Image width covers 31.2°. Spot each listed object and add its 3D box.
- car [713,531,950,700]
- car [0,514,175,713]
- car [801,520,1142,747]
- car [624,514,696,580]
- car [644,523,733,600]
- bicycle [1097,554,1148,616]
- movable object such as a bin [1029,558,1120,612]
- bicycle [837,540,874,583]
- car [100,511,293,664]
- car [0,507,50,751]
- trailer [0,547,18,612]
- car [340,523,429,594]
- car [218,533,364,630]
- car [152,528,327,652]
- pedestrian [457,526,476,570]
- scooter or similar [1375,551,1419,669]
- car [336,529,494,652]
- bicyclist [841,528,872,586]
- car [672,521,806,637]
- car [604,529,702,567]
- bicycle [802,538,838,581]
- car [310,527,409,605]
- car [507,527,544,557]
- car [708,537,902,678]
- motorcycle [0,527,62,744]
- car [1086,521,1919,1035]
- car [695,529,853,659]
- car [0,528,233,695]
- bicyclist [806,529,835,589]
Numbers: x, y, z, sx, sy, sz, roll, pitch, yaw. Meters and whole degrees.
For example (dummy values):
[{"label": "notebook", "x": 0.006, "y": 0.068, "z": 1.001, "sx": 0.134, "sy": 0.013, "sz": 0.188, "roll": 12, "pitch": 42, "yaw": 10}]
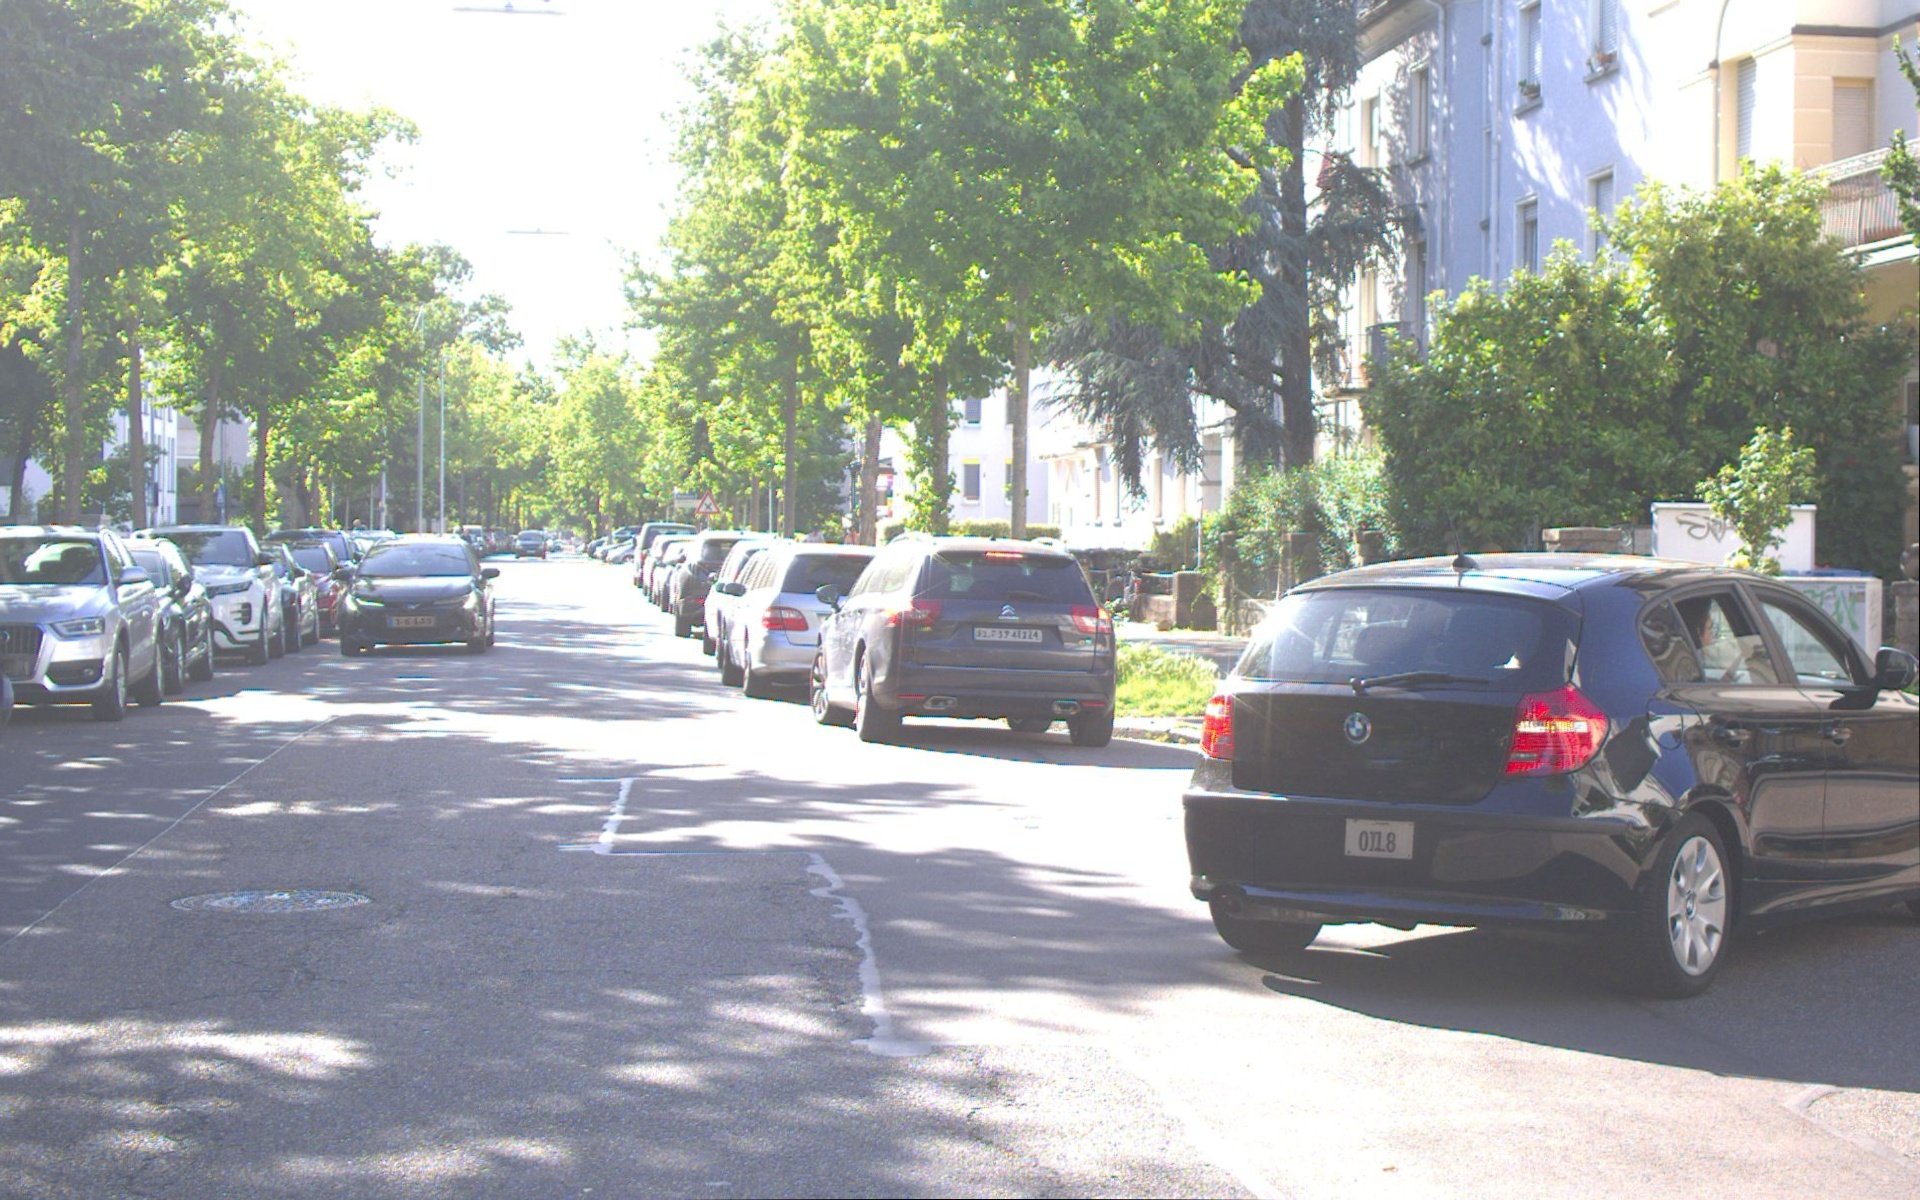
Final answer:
[{"label": "car", "x": -1.343, "y": 0.093, "z": 33.759, "sx": 1.821, "sy": 1.464, "sz": 4.911, "roll": 2, "pitch": 1, "yaw": -8}, {"label": "car", "x": -7.731, "y": 0.046, "z": 28.521, "sx": 2.063, "sy": 1.519, "sz": 4.723, "roll": 0, "pitch": 1, "yaw": -9}, {"label": "car", "x": -0.029, "y": 0.216, "z": 26.069, "sx": 1.895, "sy": 1.519, "sz": 4.968, "roll": 1, "pitch": 0, "yaw": -8}, {"label": "car", "x": -9.064, "y": -1.604, "z": 103.691, "sx": 1.970, "sy": 1.942, "sz": 4.986, "roll": 1, "pitch": 1, "yaw": -7}, {"label": "car", "x": -6.622, "y": -0.955, "z": 83.502, "sx": 1.906, "sy": 1.693, "sz": 4.314, "roll": 3, "pitch": 1, "yaw": -6}, {"label": "bicycle", "x": 2.636, "y": -0.255, "z": 55.909, "sx": 0.581, "sy": 0.971, "sz": 1.904, "roll": 0, "pitch": 1, "yaw": -5}, {"label": "movable object such as a bin", "x": 1.985, "y": -0.269, "z": 59.370, "sx": 1.222, "sy": 0.901, "sz": 1.663, "roll": 1, "pitch": 1, "yaw": 14}, {"label": "bicycle", "x": -2.827, "y": -1.050, "z": 92.589, "sx": 0.683, "sy": 1.149, "sz": 2.404, "roll": 0, "pitch": 1, "yaw": -9}, {"label": "car", "x": -8.868, "y": -0.184, "z": 40.217, "sx": 1.728, "sy": 1.612, "sz": 4.367, "roll": -3, "pitch": 1, "yaw": -7}, {"label": "car", "x": -6.930, "y": 0.184, "z": 20.727, "sx": 2.042, "sy": 1.519, "sz": 4.607, "roll": 1, "pitch": 1, "yaw": -5}, {"label": "trailer", "x": -16.069, "y": -0.327, "z": 54.101, "sx": 1.788, "sy": 1.030, "sz": 3.282, "roll": 1, "pitch": 1, "yaw": -4}, {"label": "car", "x": -13.069, "y": -0.958, "z": 78.271, "sx": 1.710, "sy": 1.539, "sz": 3.931, "roll": -1, "pitch": 1, "yaw": -6}, {"label": "car", "x": -10.168, "y": -0.311, "z": 52.482, "sx": 1.779, "sy": 1.374, "sz": 4.263, "roll": -1, "pitch": 1, "yaw": -6}, {"label": "car", "x": -9.483, "y": -0.174, "z": 45.526, "sx": 1.728, "sy": 1.472, "sz": 4.620, "roll": -3, "pitch": 1, "yaw": -6}, {"label": "pedestrian", "x": -21.530, "y": -2.257, "z": 149.989, "sx": 0.715, "sy": 1.894, "sz": 0.837, "roll": 0, "pitch": 1, "yaw": -16}, {"label": "scooter or similar", "x": 4.513, "y": 0.094, "z": 35.478, "sx": 0.401, "sy": 1.181, "sz": 1.205, "roll": 1, "pitch": 2, "yaw": 9}, {"label": "car", "x": -6.822, "y": -0.155, "z": 43.343, "sx": 1.808, "sy": 1.440, "sz": 4.367, "roll": -1, "pitch": 1, "yaw": -7}, {"label": "bicyclist", "x": -2.784, "y": -1.153, "z": 92.325, "sx": 0.676, "sy": 1.548, "sz": 1.022, "roll": 0, "pitch": 1, "yaw": -9}, {"label": "car", "x": -3.505, "y": -0.367, "z": 53.942, "sx": 1.925, "sy": 1.646, "sz": 5.096, "roll": 3, "pitch": 1, "yaw": -5}, {"label": "car", "x": -12.966, "y": -2.188, "z": 145.031, "sx": 3.986, "sy": 1.581, "sz": 1.727, "roll": 0, "pitch": 1, "yaw": -10}, {"label": "bicycle", "x": -3.776, "y": -1.096, "z": 92.628, "sx": 0.683, "sy": 1.149, "sz": 2.404, "roll": 0, "pitch": 1, "yaw": -9}, {"label": "car", "x": -12.573, "y": -0.735, "z": 72.153, "sx": 1.811, "sy": 1.590, "sz": 4.234, "roll": 0, "pitch": 1, "yaw": -7}, {"label": "car", "x": -24.270, "y": -3.243, "z": 191.957, "sx": 1.782, "sy": 1.603, "sz": 4.001, "roll": 0, "pitch": 1, "yaw": -10}, {"label": "car", "x": -1.810, "y": 0.040, "z": 38.728, "sx": 1.710, "sy": 1.406, "sz": 4.863, "roll": 2, "pitch": 1, "yaw": -8}, {"label": "motorcycle", "x": -7.451, "y": 0.233, "z": 24.554, "sx": 2.232, "sy": 1.498, "sz": 0.987, "roll": 1, "pitch": 2, "yaw": 44}, {"label": "car", "x": 2.314, "y": 0.479, "z": 12.294, "sx": 1.786, "sy": 1.518, "sz": 3.992, "roll": 1, "pitch": 2, "yaw": 37}, {"label": "car", "x": -2.446, "y": -0.112, "z": 44.419, "sx": 1.654, "sy": 1.527, "sz": 3.970, "roll": 3, "pitch": 1, "yaw": -8}, {"label": "car", "x": -8.239, "y": 0.054, "z": 33.684, "sx": 1.728, "sy": 1.442, "sz": 4.822, "roll": -2, "pitch": 2, "yaw": -7}, {"label": "bicyclist", "x": -3.757, "y": -1.116, "z": 92.534, "sx": 0.677, "sy": 1.604, "sz": 0.922, "roll": 0, "pitch": 1, "yaw": -9}]
